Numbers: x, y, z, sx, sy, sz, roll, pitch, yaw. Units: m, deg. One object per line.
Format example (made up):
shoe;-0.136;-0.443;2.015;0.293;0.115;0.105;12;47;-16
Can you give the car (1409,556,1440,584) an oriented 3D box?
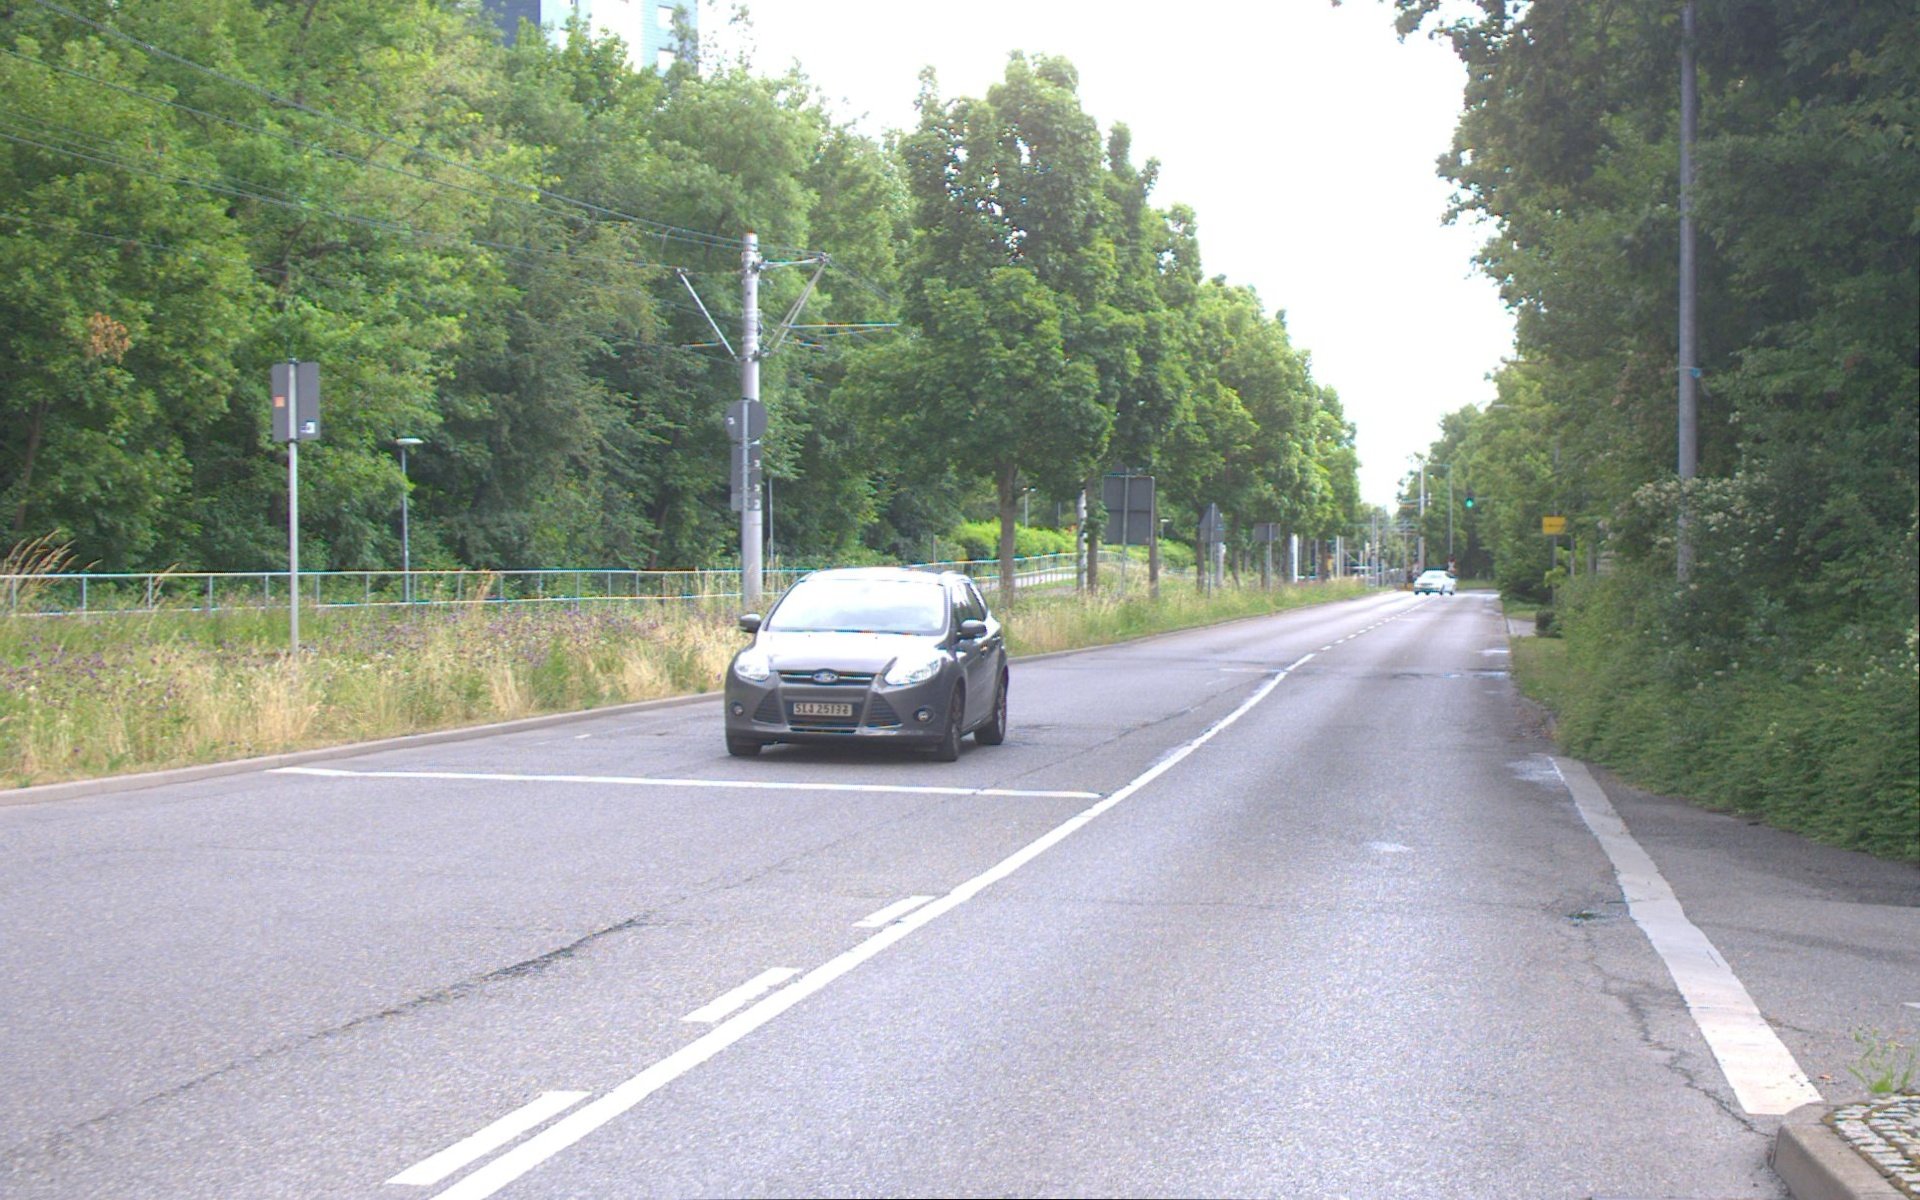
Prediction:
car;28.441;-1.855;210.407;1.717;1.624;3.999;-3;0;9

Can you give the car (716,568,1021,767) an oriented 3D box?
car;-0.642;0.477;27.604;1.756;1.429;4.427;1;1;8
